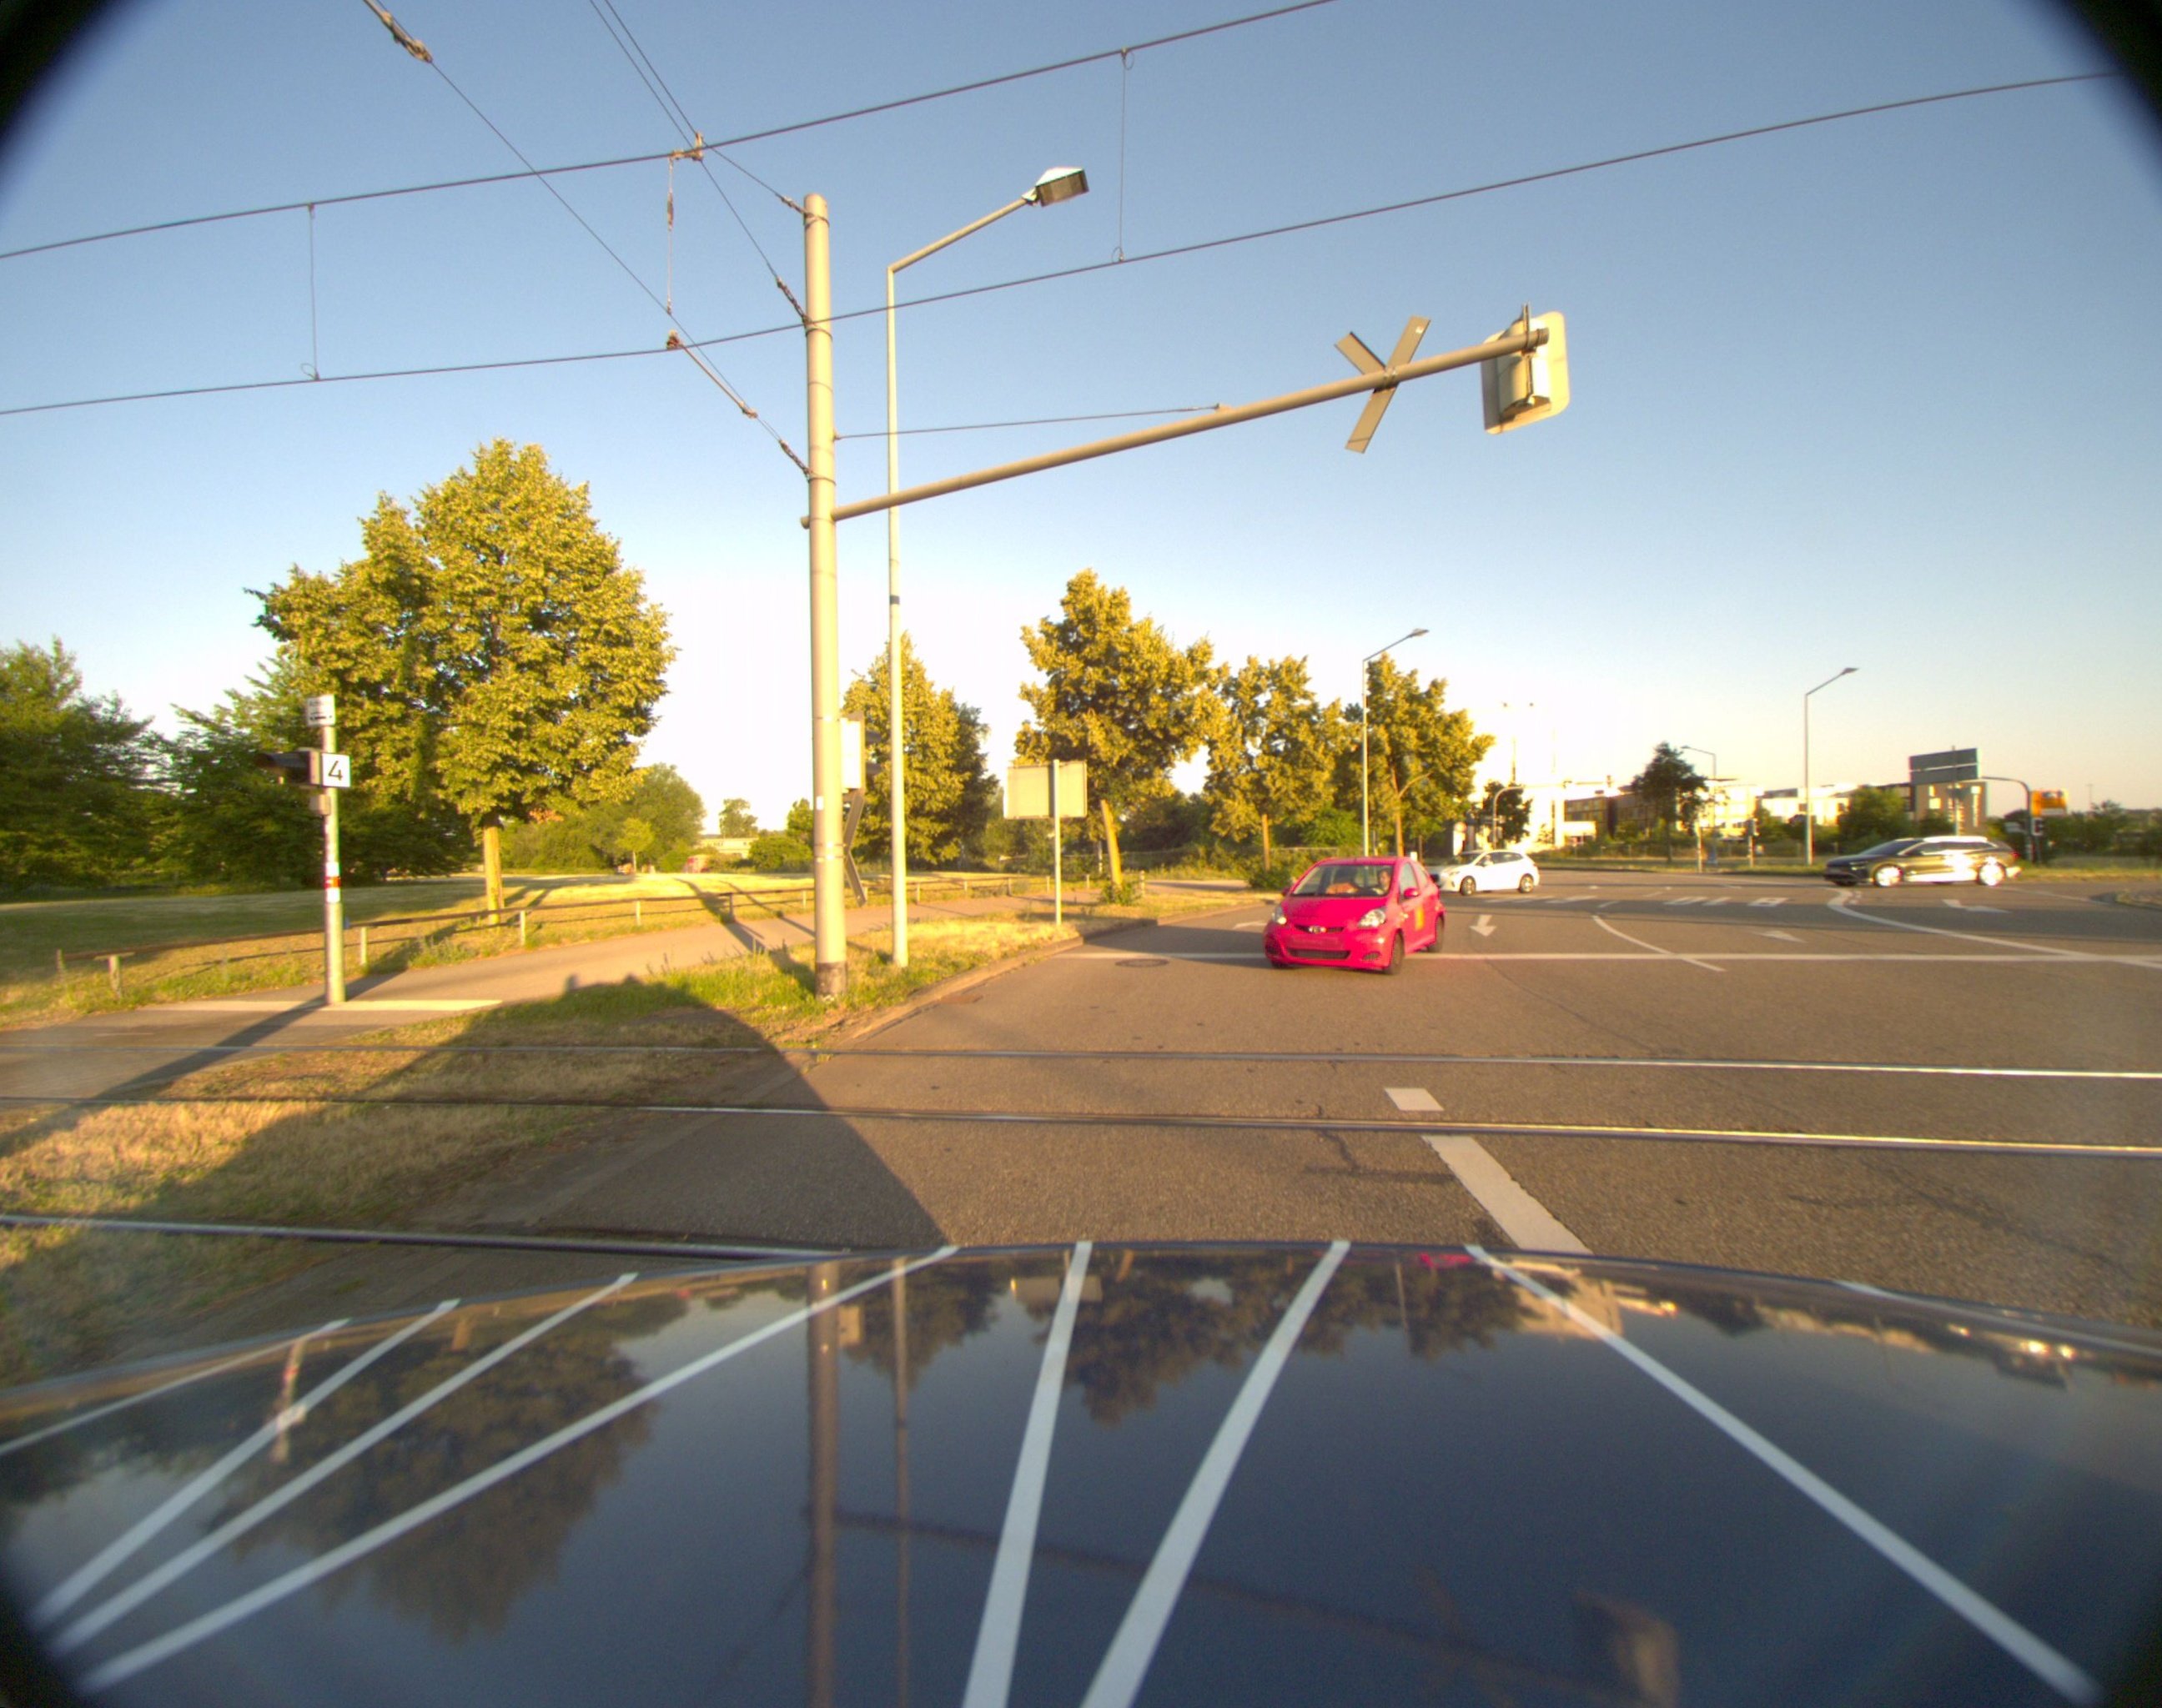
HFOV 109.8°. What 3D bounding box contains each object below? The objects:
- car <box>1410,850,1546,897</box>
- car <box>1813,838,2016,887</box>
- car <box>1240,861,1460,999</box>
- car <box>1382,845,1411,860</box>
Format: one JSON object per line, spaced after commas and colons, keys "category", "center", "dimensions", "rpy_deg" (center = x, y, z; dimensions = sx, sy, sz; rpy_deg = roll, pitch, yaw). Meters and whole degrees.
{"category": "car", "center": [13.990, 0.656, 26.807], "dimensions": [4.218, 1.549, 1.757], "rpy_deg": [-1, 0, -17]}
{"category": "car", "center": [27.692, 0.294, 25.427], "dimensions": [4.205, 1.549, 1.831], "rpy_deg": [-1, 0, 19]}
{"category": "car", "center": [3.947, 0.880, 10.652], "dimensions": [1.690, 1.413, 4.219], "rpy_deg": [-1, 1, 37]}
{"category": "car", "center": [37.075, -0.177, 89.315], "dimensions": [1.871, 1.616, 4.193], "rpy_deg": [-1, 1, 3]}
